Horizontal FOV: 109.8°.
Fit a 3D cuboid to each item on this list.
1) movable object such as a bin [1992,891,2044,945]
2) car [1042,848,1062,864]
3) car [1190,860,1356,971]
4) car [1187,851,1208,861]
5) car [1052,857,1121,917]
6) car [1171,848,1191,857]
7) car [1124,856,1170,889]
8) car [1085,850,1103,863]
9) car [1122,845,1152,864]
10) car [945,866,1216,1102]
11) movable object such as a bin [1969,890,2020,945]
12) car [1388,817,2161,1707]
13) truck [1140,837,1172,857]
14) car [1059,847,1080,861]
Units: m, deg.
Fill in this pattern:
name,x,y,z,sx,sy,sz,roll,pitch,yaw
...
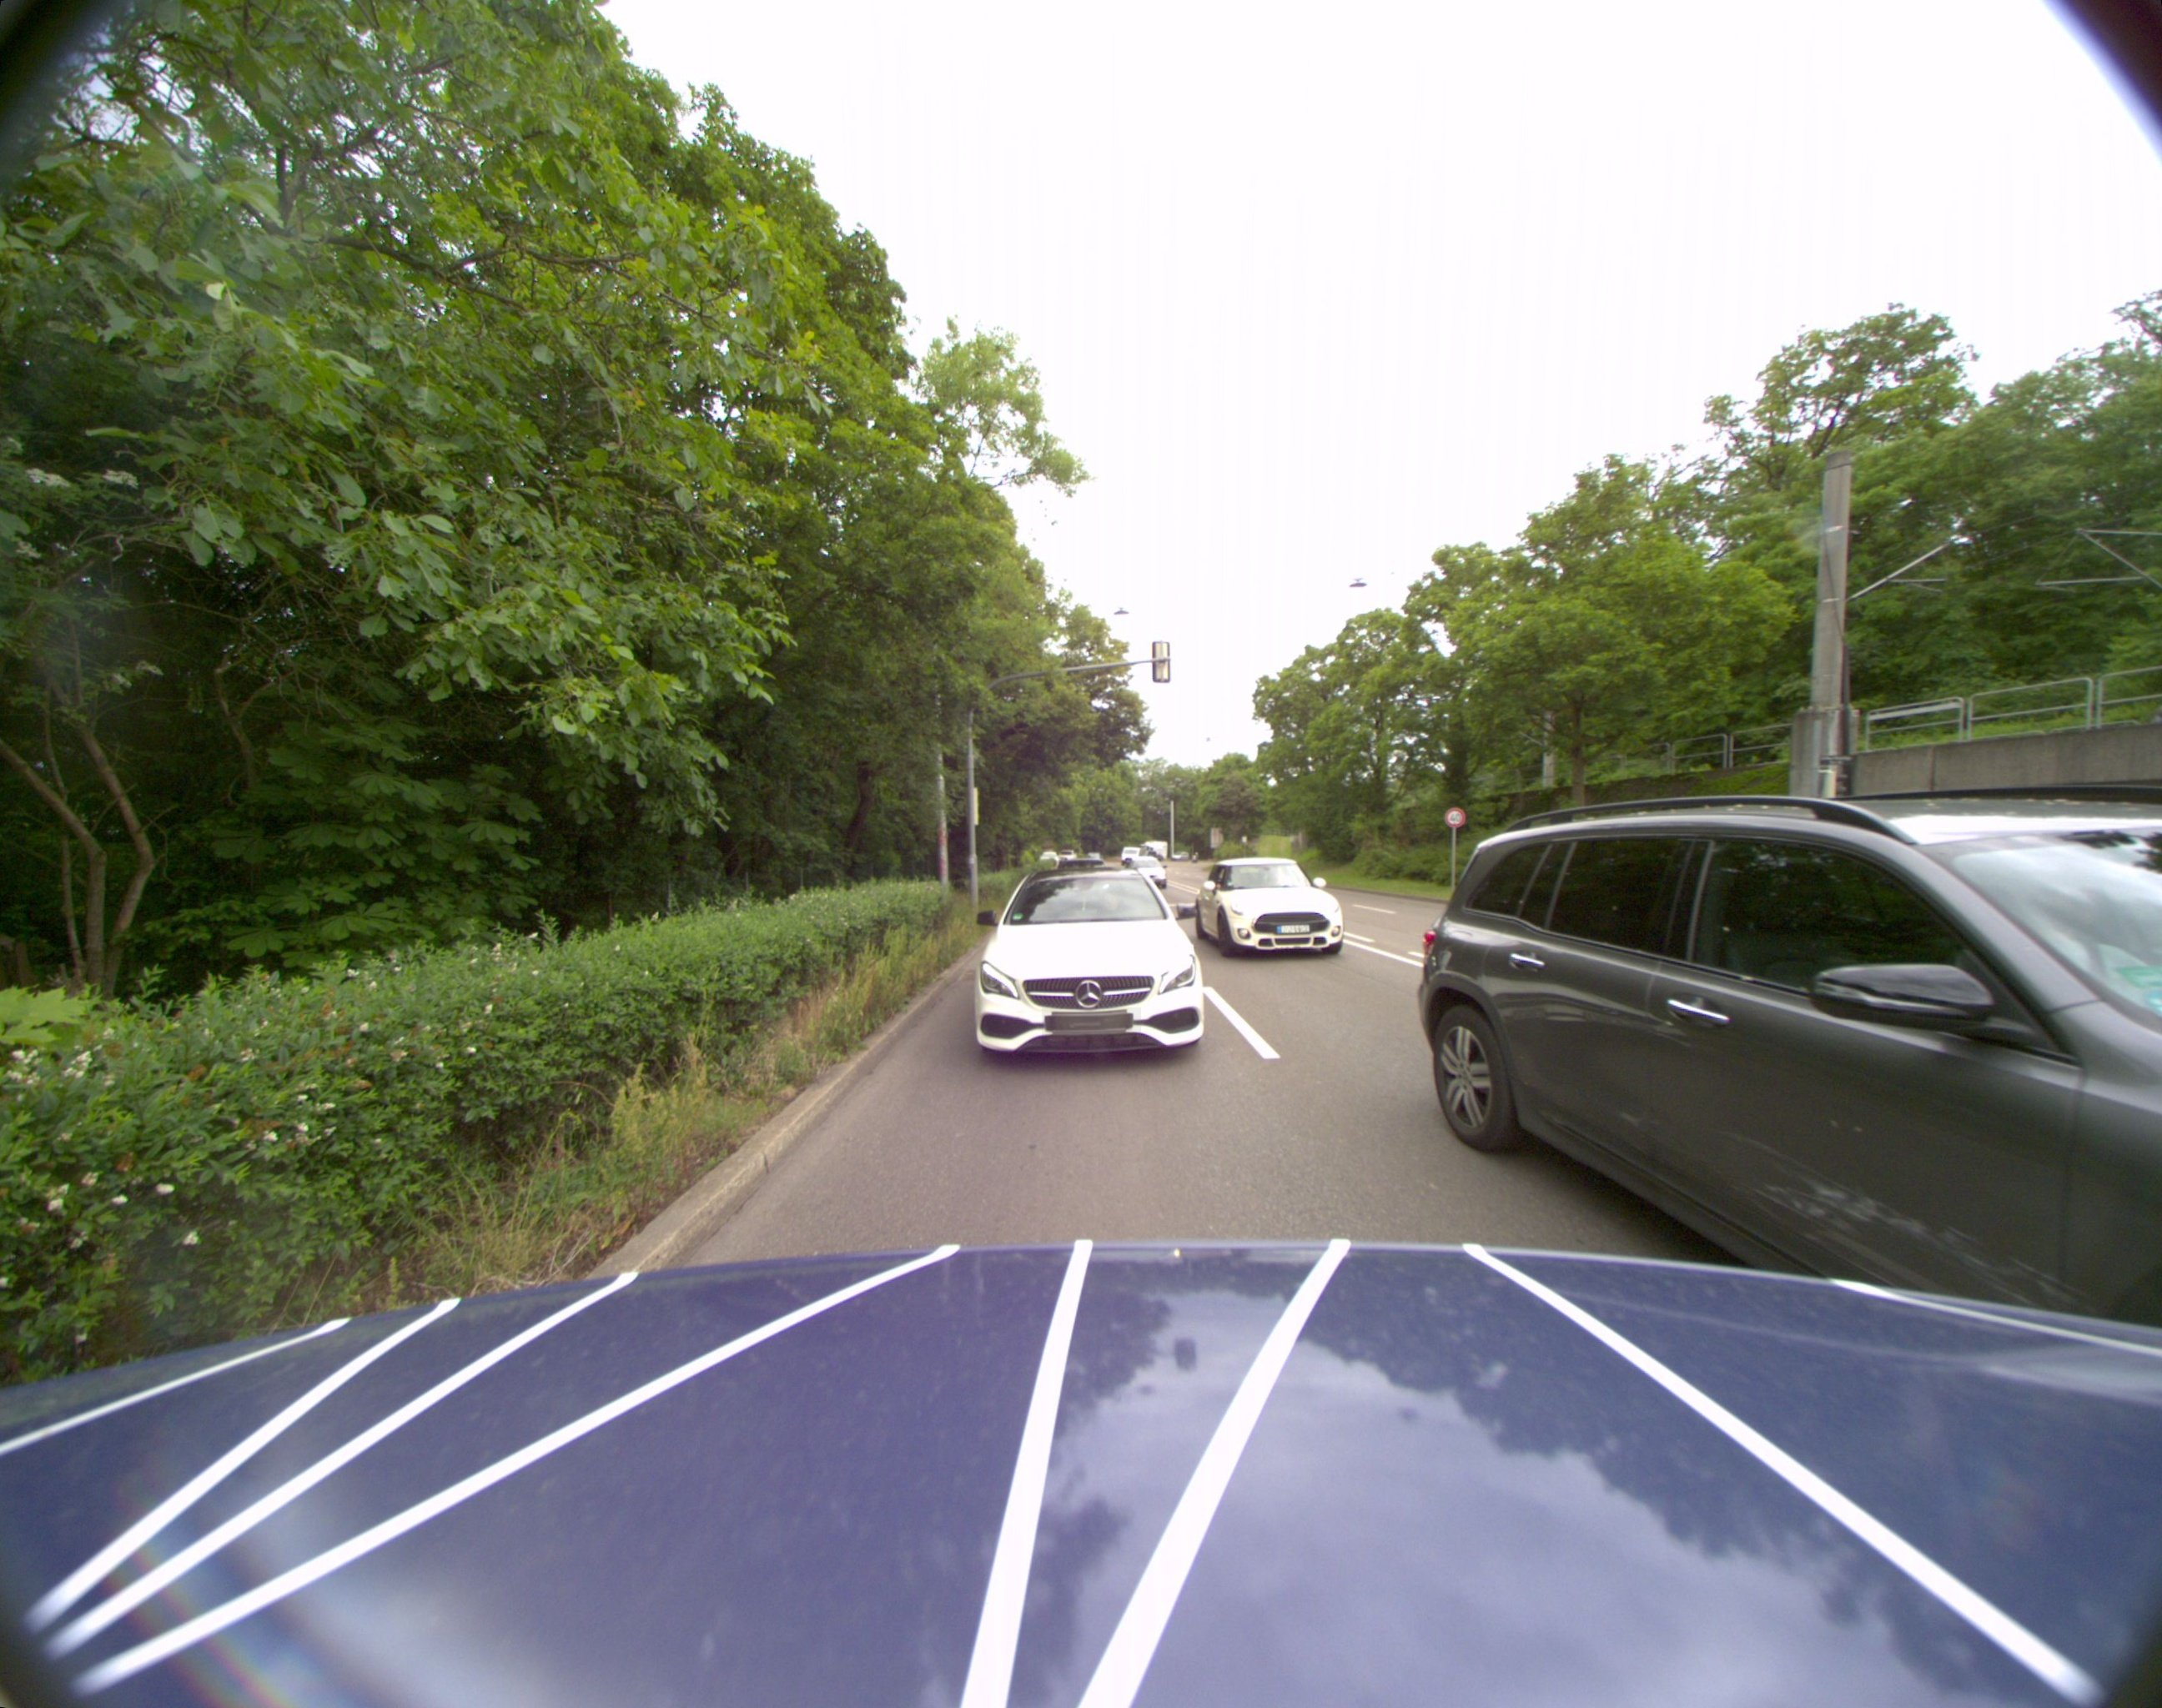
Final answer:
name,x,y,z,sx,sy,sz,roll,pitch,yaw
movable object such as a bin,18.990,1.285,15.410,0.419,1.057,0.503,0,1,-4
car,-2.829,0.188,74.379,1.765,1.433,3.891,1,0,0
car,2.842,0.842,12.061,1.688,1.415,3.732,-1,0,0
car,18.850,0.356,123.001,1.850,1.641,4.366,1,0,31
car,0.153,0.890,21.998,1.755,1.417,4.009,3,1,0
car,17.116,-0.207,130.048,1.751,1.354,4.019,4,1,35
car,2.966,0.795,34.742,1.664,1.382,4.182,-1,0,-1
car,1.461,0.301,85.947,1.764,1.433,3.893,1,0,4
car,6.869,0.023,92.353,2.282,2.187,6.466,-1,0,16
car,0.020,0.924,7.212,1.801,1.470,4.010,-2,0,1
movable object such as a bin,18.364,1.271,15.279,0.419,1.057,0.503,0,1,-4
car,2.705,0.734,2.130,1.854,1.641,4.357,-1,0,-1
truck,12.095,-1.086,122.536,2.195,3.137,6.665,2,0,33
car,-1.352,0.026,89.147,1.754,1.575,4.013,1,0,10
